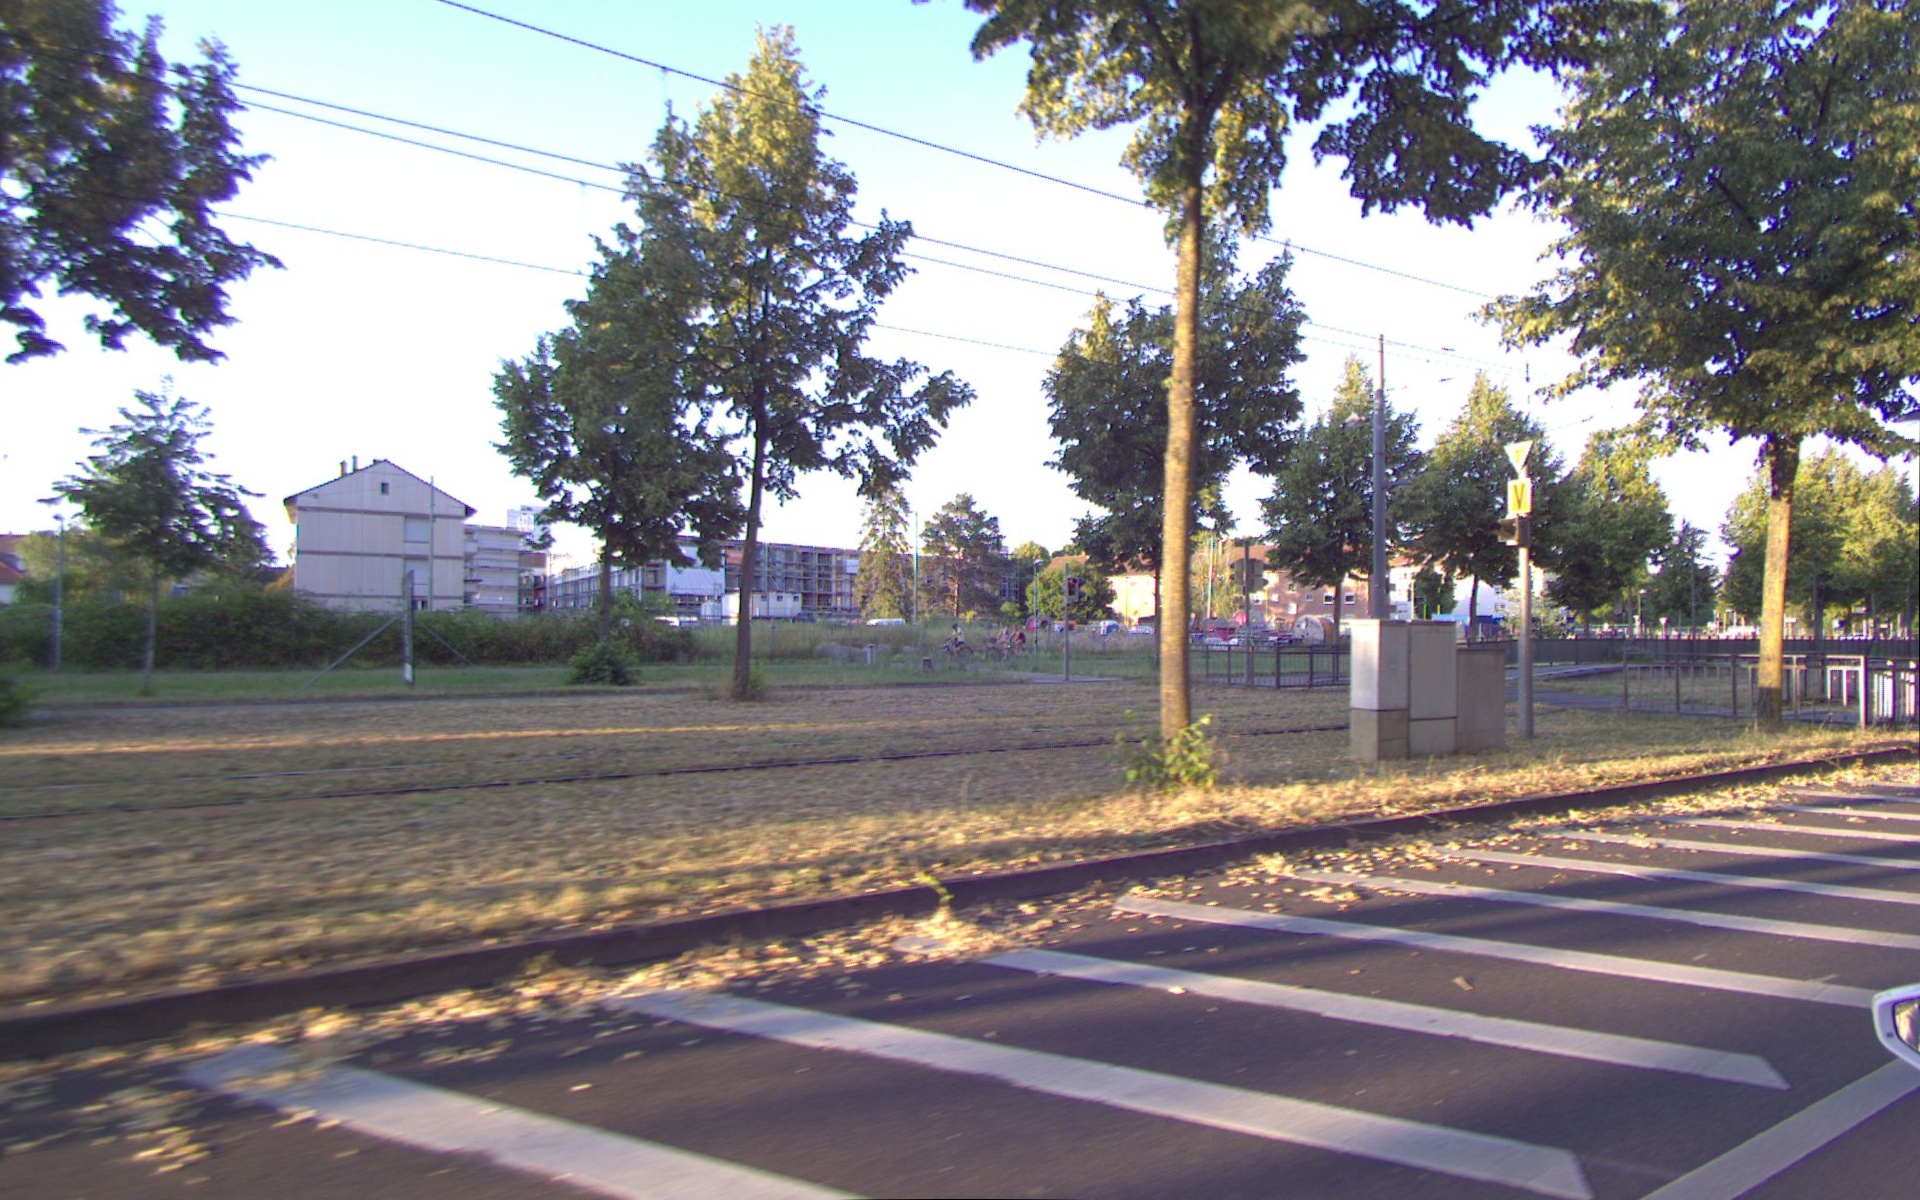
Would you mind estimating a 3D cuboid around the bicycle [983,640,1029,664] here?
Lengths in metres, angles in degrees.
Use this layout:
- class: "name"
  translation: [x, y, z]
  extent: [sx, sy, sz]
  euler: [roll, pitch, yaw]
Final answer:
- class: "bicycle"
  translation: [2.020, 2.280, 44.030]
  extent: [2.060, 1.024, 0.616]
  euler: [1, -2, -33]

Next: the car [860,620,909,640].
- class: "car"
  translation: [-7.719, 3.096, 102.604]
  extent: [4.761, 2.040, 1.979]
  euler: [2, -2, -37]

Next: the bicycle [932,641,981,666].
- class: "bicycle"
  translation: [-0.145, 2.258, 42.638]
  extent: [2.060, 1.024, 0.616]
  euler: [1, -2, -33]

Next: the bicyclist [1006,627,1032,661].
- class: "bicyclist"
  translation: [2.542, 1.886, 43.110]
  extent: [0.927, 1.475, 0.616]
  euler: [1, -1, -32]

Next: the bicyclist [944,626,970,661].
- class: "bicyclist"
  translation: [-0.113, 1.839, 42.659]
  extent: [0.927, 1.440, 0.616]
  euler: [1, -2, -32]

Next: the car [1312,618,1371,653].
- class: "car"
  translation: [26.402, 2.433, 69.450]
  extent: [2.384, 2.254, 5.898]
  euler: [0, -2, 36]

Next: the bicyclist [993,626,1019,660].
- class: "bicyclist"
  translation: [2.011, 1.877, 44.031]
  extent: [0.927, 1.475, 0.616]
  euler: [1, -1, -32]

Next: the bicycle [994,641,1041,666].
- class: "bicycle"
  translation: [2.475, 2.288, 43.064]
  extent: [2.060, 1.024, 0.616]
  euler: [1, -2, -33]
